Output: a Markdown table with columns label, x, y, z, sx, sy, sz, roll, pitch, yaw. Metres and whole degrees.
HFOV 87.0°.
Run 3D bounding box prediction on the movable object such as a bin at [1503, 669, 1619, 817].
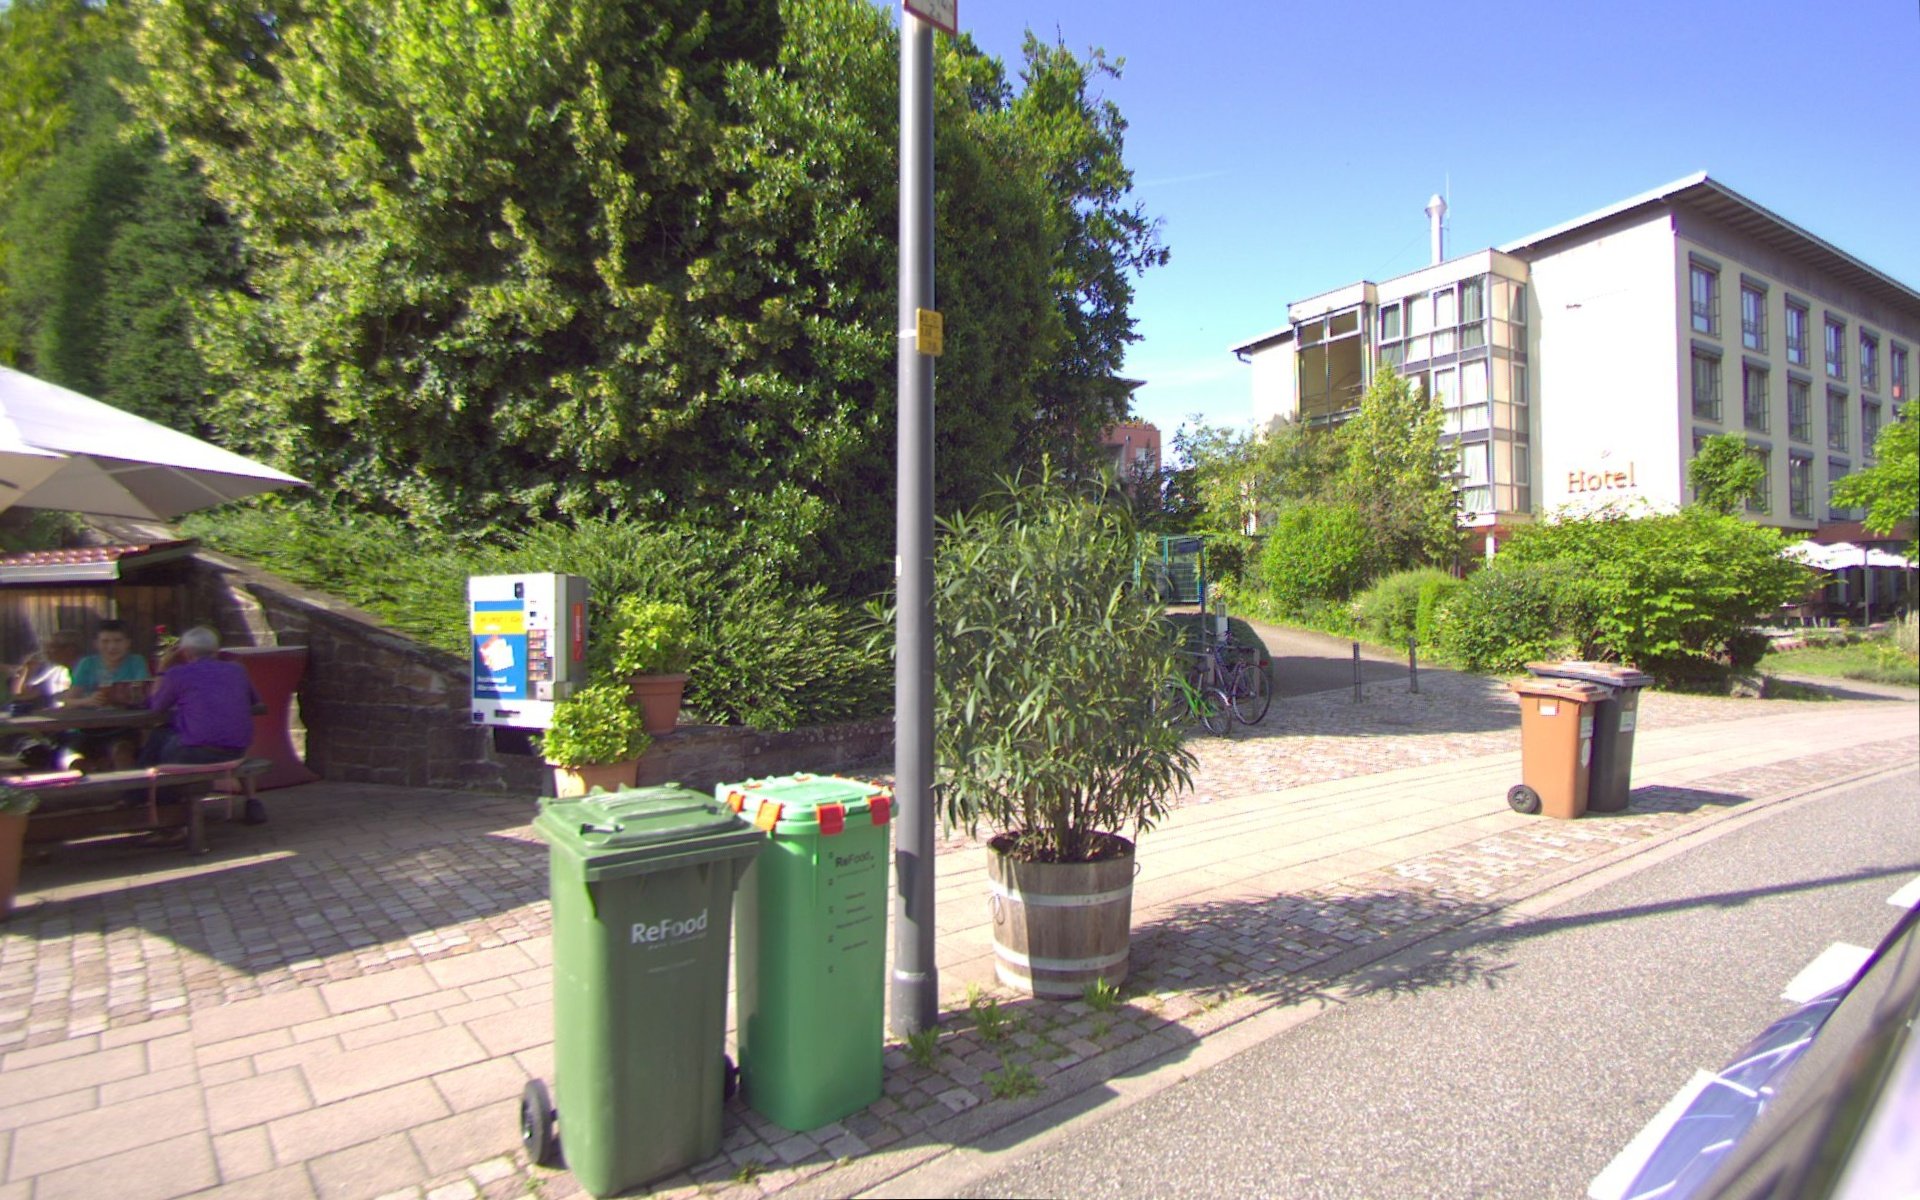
| label | x | y | z | sx | sy | sz | roll | pitch | yaw |
| --- | --- | --- | --- | --- | --- | --- | --- | --- | --- |
| movable object such as a bin | 4.215 | 0.974 | 7.100 | 0.552 | 0.923 | 0.526 | 1 | 0 | -38 |

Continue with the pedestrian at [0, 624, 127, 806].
| label | x | y | z | sx | sy | sz | roll | pitch | yaw |
| --- | --- | --- | --- | --- | --- | --- | --- | --- | --- |
| pedestrian | -6.549 | 0.813 | 7.349 | 0.583 | 1.253 | 0.509 | 1 | 0 | -1 |

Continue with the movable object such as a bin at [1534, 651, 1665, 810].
| label | x | y | z | sx | sy | sz | roll | pitch | yaw |
| --- | --- | --- | --- | --- | --- | --- | --- | --- | --- |
| movable object such as a bin | 4.675 | 0.923 | 7.408 | 0.561 | 1.045 | 0.657 | 1 | 0 | -38 |

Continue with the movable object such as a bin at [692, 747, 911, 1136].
| label | x | y | z | sx | sy | sz | roll | pitch | yaw |
| --- | --- | --- | --- | --- | --- | --- | --- | --- | --- |
| movable object such as a bin | -0.478 | 0.950 | 3.011 | 0.434 | 0.924 | 0.515 | 1 | 0 | -41 |

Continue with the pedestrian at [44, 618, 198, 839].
| label | x | y | z | sx | sy | sz | roll | pitch | yaw |
| --- | --- | --- | --- | --- | --- | --- | --- | --- | --- |
| pedestrian | -5.424 | 0.784 | 6.544 | 0.646 | 1.300 | 0.636 | 1 | 0 | 37 |

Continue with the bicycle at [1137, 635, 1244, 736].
| label | x | y | z | sx | sy | sz | roll | pitch | yaw |
| --- | --- | --- | --- | --- | --- | --- | --- | --- | --- |
| bicycle | 2.473 | 0.892 | 11.027 | 0.376 | 0.920 | 1.552 | 1 | 2 | -18 |

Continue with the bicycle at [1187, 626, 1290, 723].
| label | x | y | z | sx | sy | sz | roll | pitch | yaw |
| --- | --- | --- | --- | --- | --- | --- | --- | --- | --- |
| bicycle | 3.272 | 0.846 | 12.034 | 0.376 | 0.995 | 1.551 | 1 | 1 | -18 |

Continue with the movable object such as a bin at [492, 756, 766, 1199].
| label | x | y | z | sx | sy | sz | roll | pitch | yaw |
| --- | --- | --- | --- | --- | --- | --- | --- | --- | --- |
| movable object such as a bin | -0.878 | 0.939 | 2.666 | 0.511 | 0.937 | 0.549 | 1 | 0 | -41 |

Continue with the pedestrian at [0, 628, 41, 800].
| label | x | y | z | sx | sy | sz | roll | pitch | yaw |
| --- | --- | --- | --- | --- | --- | --- | --- | --- | --- |
| pedestrian | -7.406 | 0.849 | 7.572 | 0.685 | 1.247 | 0.509 | 0 | 0 | -31 |

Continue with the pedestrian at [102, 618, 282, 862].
| label | x | y | z | sx | sy | sz | roll | pitch | yaw |
| --- | --- | --- | --- | --- | --- | --- | --- | --- | --- |
| pedestrian | -4.620 | 0.774 | 6.085 | 0.946 | 1.300 | 0.636 | 1 | 0 | 38 |
